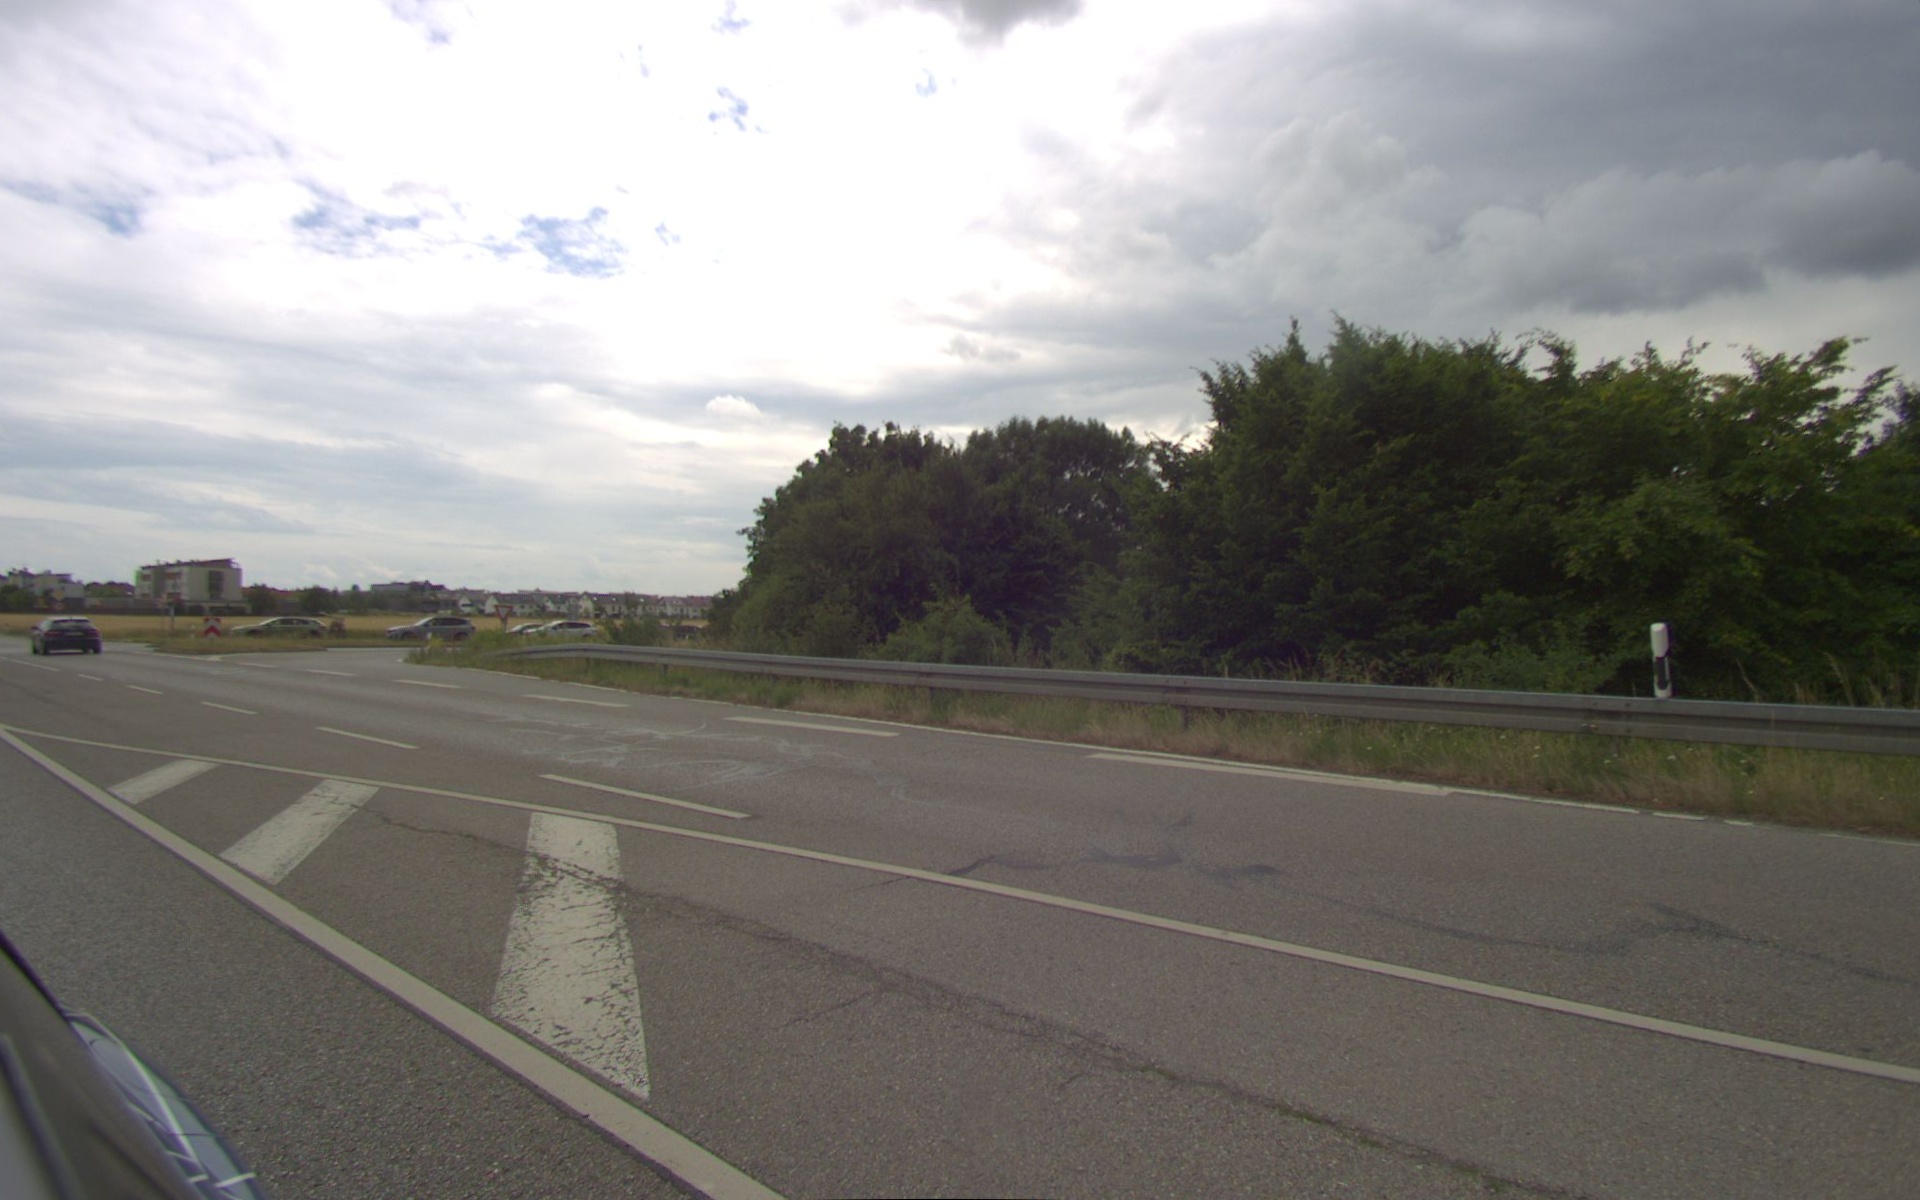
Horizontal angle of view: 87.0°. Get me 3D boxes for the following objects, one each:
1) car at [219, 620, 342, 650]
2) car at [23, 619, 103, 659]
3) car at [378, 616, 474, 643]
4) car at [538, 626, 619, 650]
[{"bbox_3d":[-36.174,1.847,53.960,5.221,1.533,1.913,2,-2,-43],"label":"car"},{"bbox_3d":[-34.206,1.449,38.577,3.999,1.387,1.842,-2,0,42],"label":"car"},{"bbox_3d":[-30.965,1.696,58.773,4.568,1.528,1.913,2,-2,-43],"label":"car"},{"bbox_3d":[-24.246,2.411,64.430,4.437,1.493,1.913,2,-2,-43],"label":"car"}]
